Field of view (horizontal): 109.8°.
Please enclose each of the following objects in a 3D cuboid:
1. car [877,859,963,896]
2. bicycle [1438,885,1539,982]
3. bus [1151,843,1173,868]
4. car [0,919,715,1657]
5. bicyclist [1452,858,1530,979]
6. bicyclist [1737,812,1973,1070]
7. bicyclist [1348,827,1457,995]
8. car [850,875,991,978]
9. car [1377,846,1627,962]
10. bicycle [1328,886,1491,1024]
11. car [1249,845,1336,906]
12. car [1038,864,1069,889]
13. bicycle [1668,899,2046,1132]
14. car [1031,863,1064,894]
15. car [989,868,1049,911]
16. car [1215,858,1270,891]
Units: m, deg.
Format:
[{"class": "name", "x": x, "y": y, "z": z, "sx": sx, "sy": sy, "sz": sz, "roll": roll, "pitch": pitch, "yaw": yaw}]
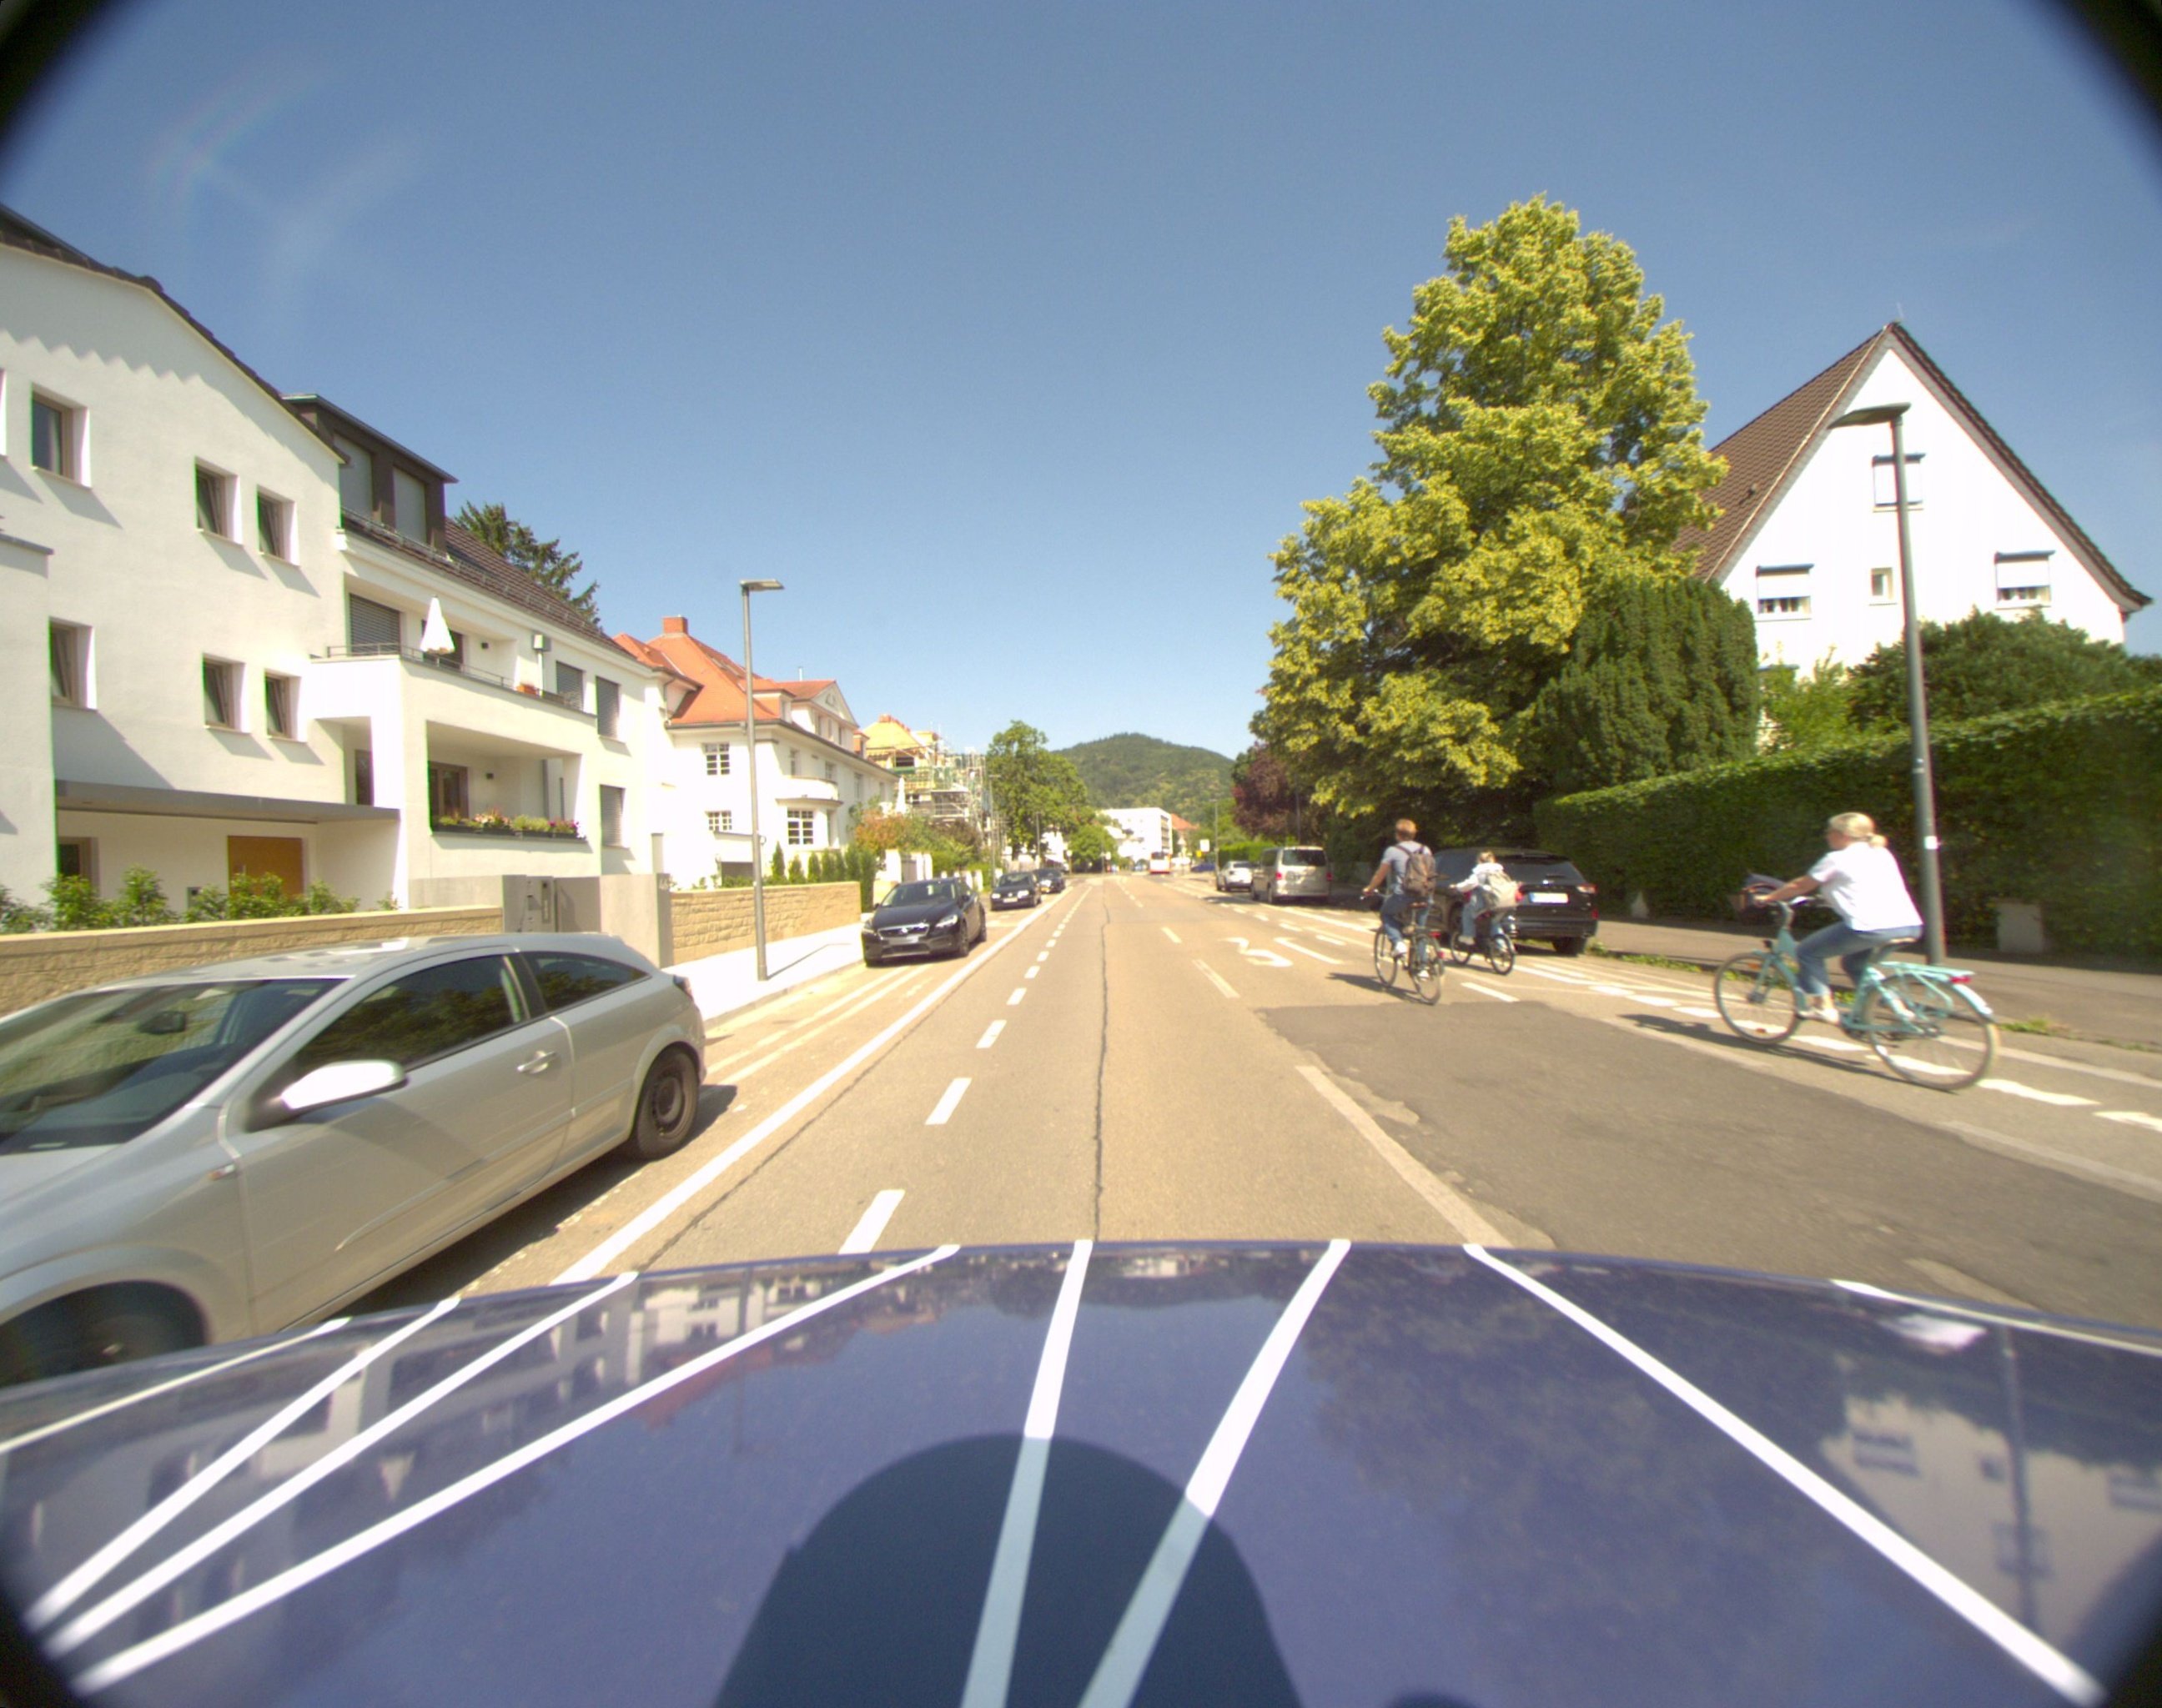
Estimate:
[{"class": "car", "x": -8.728, "y": 1.258, "z": 41.422, "sx": 4.173, "sy": 1.573, "sz": 1.702, "roll": -5, "pitch": 0, "yaw": -1}, {"class": "bicycle", "x": 5.152, "y": 0.970, "z": 9.691, "sx": 0.602, "sy": 1.099, "sz": 1.346, "roll": 0, "pitch": 1, "yaw": 2}, {"class": "bus", "x": 10.820, "y": 0.216, "z": 102.080, "sx": 2.751, "sy": 3.155, "sz": 9.782, "roll": -1, "pitch": 0, "yaw": 6}, {"class": "car", "x": -3.289, "y": 1.185, "z": 2.728, "sx": 1.741, "sy": 1.321, "sz": 4.076, "roll": -6, "pitch": 1, "yaw": 2}, {"class": "bicyclist", "x": 5.142, "y": 0.775, "z": 9.580, "sx": 0.491, "sy": 1.445, "sz": 0.964, "roll": 0, "pitch": 1, "yaw": 2}, {"class": "bicyclist", "x": 5.061, "y": 0.527, "z": 5.039, "sx": 0.677, "sy": 1.571, "sz": 0.859, "roll": 0, "pitch": 1, "yaw": 2}, {"class": "bicyclist", "x": 3.356, "y": 0.566, "z": 8.021, "sx": 0.751, "sy": 1.658, "sz": 1.022, "roll": 0, "pitch": 1, "yaw": 2}, {"class": "car", "x": -2.921, "y": 1.260, "z": 14.732, "sx": 1.726, "sy": 1.440, "sz": 4.168, "roll": -5, "pitch": 0, "yaw": 0}, {"class": "car", "x": 6.802, "y": 0.701, "z": 12.953, "sx": 1.855, "sy": 1.601, "sz": 4.448, "roll": 1, "pitch": 0, "yaw": 1}, {"class": "bicycle", "x": 3.420, "y": 0.990, "z": 8.221, "sx": 0.784, "sy": 1.159, "sz": 2.420, "roll": 0, "pitch": 0, "yaw": 2}, {"class": "car", "x": 7.214, "y": 0.694, "z": 26.408, "sx": 1.889, "sy": 1.908, "sz": 4.869, "roll": 0, "pitch": 0, "yaw": 3}, {"class": "car", "x": -1.781, "y": 1.449, "z": 50.059, "sx": 1.661, "sy": 1.467, "sz": 3.787, "roll": -5, "pitch": 0, "yaw": 1}, {"class": "bicycle", "x": 5.054, "y": 0.948, "z": 5.197, "sx": 0.560, "sy": 1.178, "sz": 2.036, "roll": 0, "pitch": 0, "yaw": 2}, {"class": "car", "x": -1.923, "y": 1.386, "z": 44.772, "sx": 1.701, "sy": 1.573, "sz": 4.900, "roll": -5, "pitch": 0, "yaw": -1}, {"class": "car", "x": -2.436, "y": 1.390, "z": 30.859, "sx": 1.623, "sy": 1.440, "sz": 4.001, "roll": -5, "pitch": 0, "yaw": 6}, {"class": "car", "x": 7.666, "y": 0.954, "z": 36.489, "sx": 1.838, "sy": 1.476, "sz": 4.563, "roll": 0, "pitch": -1, "yaw": 2}]
